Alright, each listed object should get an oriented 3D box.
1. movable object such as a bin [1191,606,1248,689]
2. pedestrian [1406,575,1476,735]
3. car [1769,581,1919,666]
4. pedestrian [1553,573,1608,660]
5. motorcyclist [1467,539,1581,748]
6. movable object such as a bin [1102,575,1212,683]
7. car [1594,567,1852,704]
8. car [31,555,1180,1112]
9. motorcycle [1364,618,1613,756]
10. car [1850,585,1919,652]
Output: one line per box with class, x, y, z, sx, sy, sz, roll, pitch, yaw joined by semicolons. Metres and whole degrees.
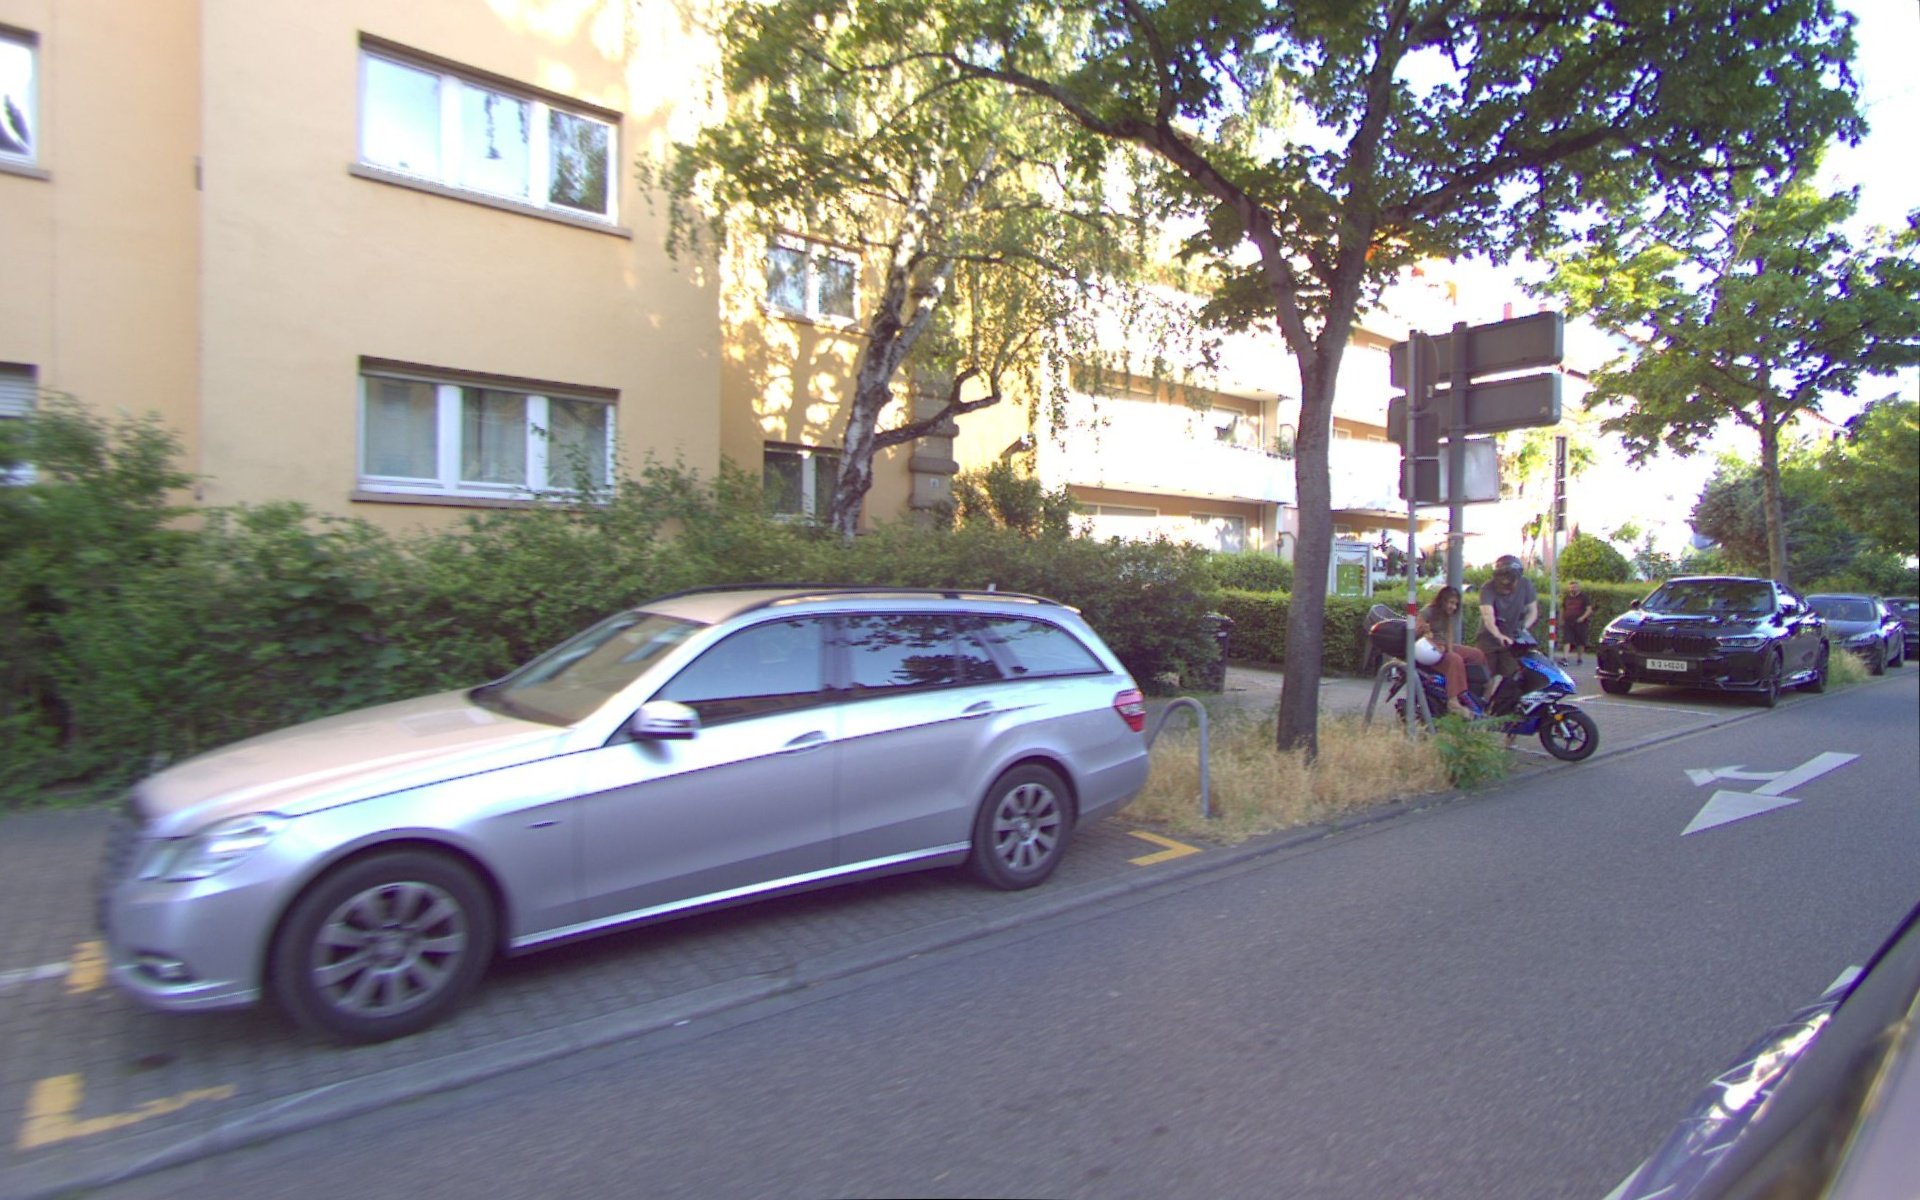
movable object such as a bin;3.484;0.627;13.613;0.536;1.072;0.496;0;1;-26
pedestrian;4.559;0.495;9.580;0.437;1.448;0.694;1;0;40
car;17.795;0.398;20.259;4.354;1.490;1.720;0;2;-41
pedestrian;11.920;0.305;19.441;0.569;1.636;0.747;0;1;-40
motorcyclist;5.230;0.364;9.365;0.735;1.800;1.073;1;1;40
movable object such as a bin;2.781;0.377;14.369;0.974;1.459;1.259;0;1;-24
car;11.145;0.395;14.663;4.711;1.675;1.952;0;1;-40
car;-1.228;0.603;4.980;4.745;1.531;1.862;0;2;-37
motorcycle;4.856;0.741;9.379;1.923;1.084;0.808;1;1;40
car;23.085;0.406;24.340;4.403;1.466;1.775;0;2;-39
